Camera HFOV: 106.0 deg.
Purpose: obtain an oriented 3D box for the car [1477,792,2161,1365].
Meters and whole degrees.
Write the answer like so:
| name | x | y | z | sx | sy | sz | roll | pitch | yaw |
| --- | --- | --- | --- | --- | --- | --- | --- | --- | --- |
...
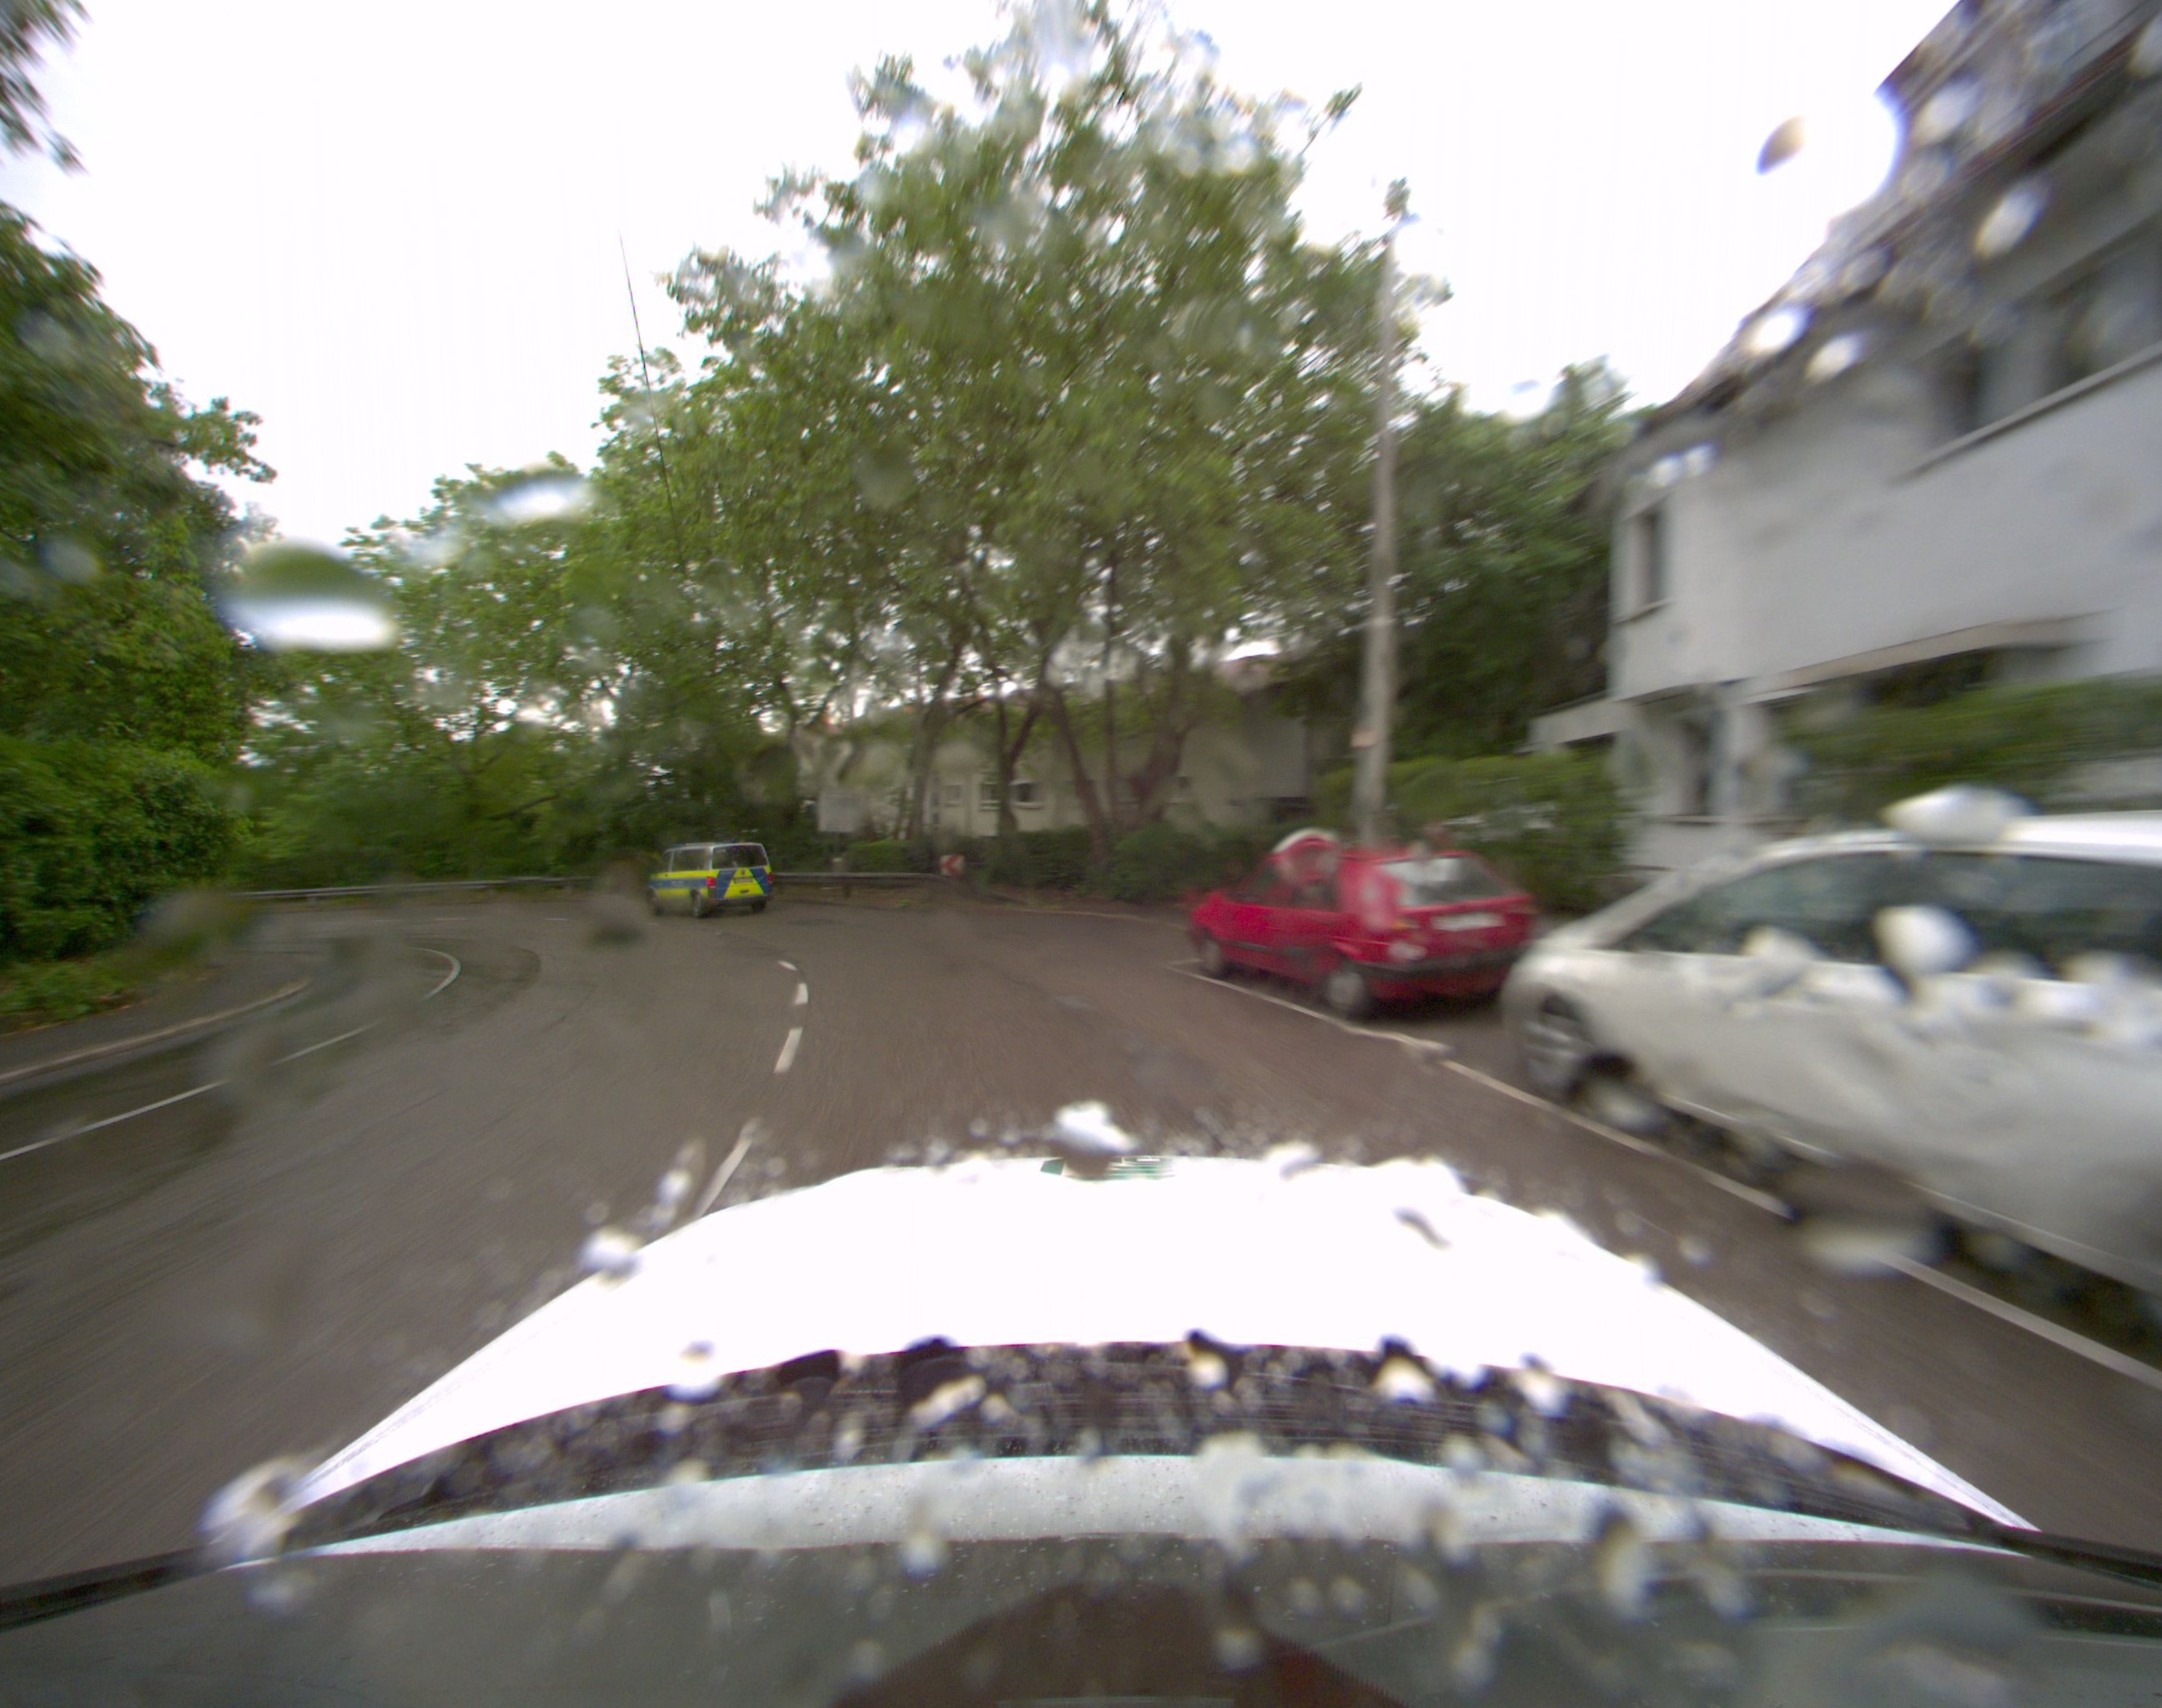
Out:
| name | x | y | z | sx | sy | sz | roll | pitch | yaw |
| --- | --- | --- | --- | --- | --- | --- | --- | --- | --- |
| car | 3.595 | 0.558 | 3.348 | 1.762 | 1.515 | 3.815 | -2 | 0 | -6 |

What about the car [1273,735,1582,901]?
| name | x | y | z | sx | sy | sz | roll | pitch | yaw |
| --- | --- | --- | --- | --- | --- | --- | --- | --- | --- |
| car | 5.760 | -0.583 | 14.152 | 4.369 | 1.842 | 2.006 | -11 | 0 | 10 |

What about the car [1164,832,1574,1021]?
| name | x | y | z | sx | sy | sz | roll | pitch | yaw |
| --- | --- | --- | --- | --- | --- | --- | --- | --- | --- |
| car | 2.537 | 0.589 | 8.397 | 1.785 | 1.367 | 4.170 | -2 | -1 | -18 |

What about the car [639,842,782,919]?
| name | x | y | z | sx | sy | sz | roll | pitch | yaw |
| --- | --- | --- | --- | --- | --- | --- | --- | --- | --- |
| car | -10.562 | 0.727 | 23.054 | 4.512 | 1.893 | 2.012 | -2 | 1 | 43 |
